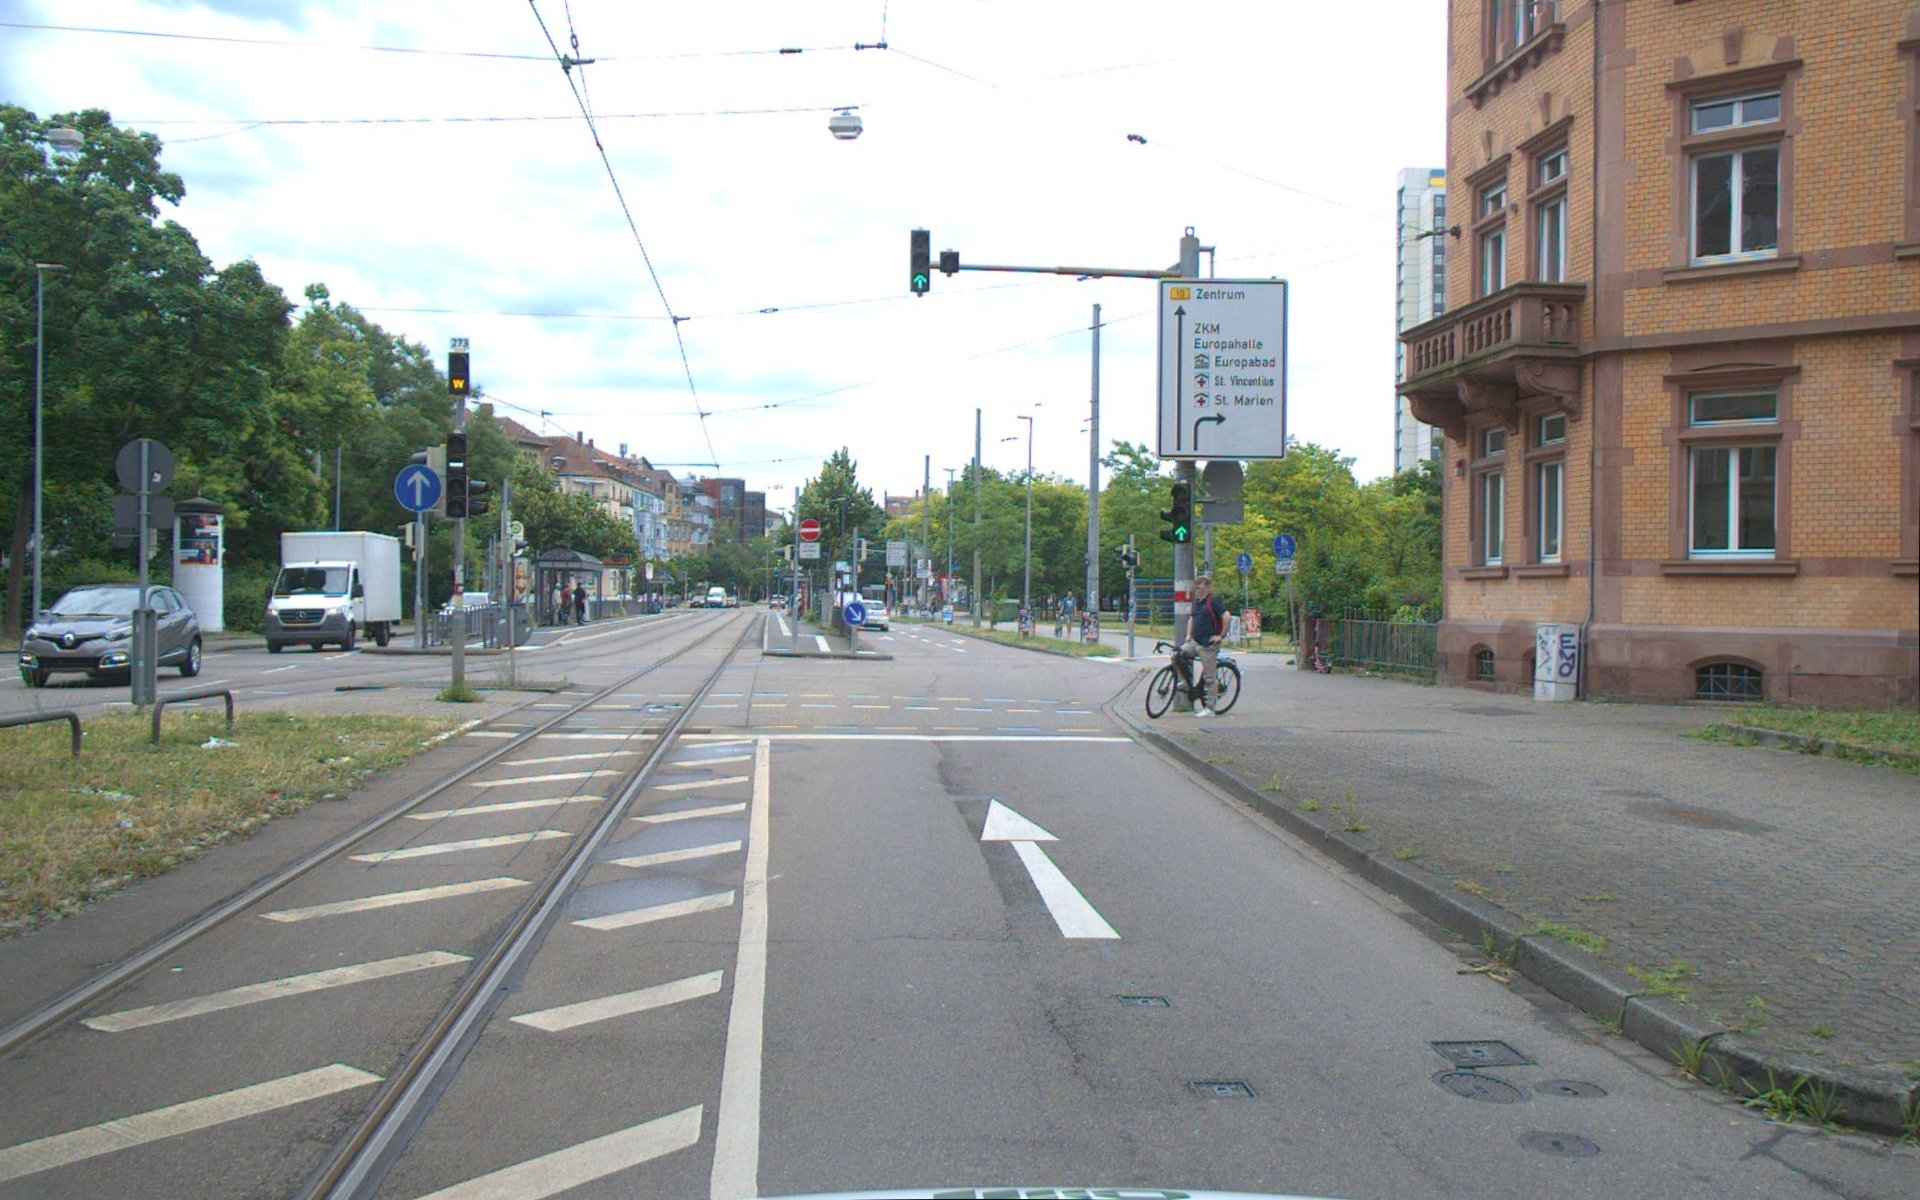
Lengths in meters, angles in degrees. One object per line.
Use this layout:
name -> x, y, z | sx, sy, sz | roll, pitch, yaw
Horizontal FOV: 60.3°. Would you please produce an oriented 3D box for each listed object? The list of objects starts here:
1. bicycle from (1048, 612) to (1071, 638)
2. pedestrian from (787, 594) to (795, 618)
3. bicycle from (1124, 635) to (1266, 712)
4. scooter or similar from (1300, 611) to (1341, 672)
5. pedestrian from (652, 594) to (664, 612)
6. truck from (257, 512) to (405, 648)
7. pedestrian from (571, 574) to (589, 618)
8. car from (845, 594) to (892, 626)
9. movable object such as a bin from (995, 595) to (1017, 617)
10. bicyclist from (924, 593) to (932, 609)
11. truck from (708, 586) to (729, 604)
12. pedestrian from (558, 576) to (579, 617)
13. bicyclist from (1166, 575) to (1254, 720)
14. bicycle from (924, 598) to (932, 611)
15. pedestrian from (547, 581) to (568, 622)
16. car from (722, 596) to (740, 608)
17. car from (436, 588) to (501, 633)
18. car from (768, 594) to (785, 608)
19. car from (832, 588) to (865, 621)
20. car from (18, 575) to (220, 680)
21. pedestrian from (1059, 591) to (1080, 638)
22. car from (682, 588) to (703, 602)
bicycle -> 4.055, 1.000, 67.555 | 0.642, 1.020, 1.777 | 1, 0, -6
pedestrian -> -10.989, 0.400, 107.508 | 0.521, 1.585, 0.570 | 0, 0, -3
bicycle -> 3.075, 0.932, 21.528 | 1.850, 0.940, 0.785 | 1, 0, -39
scooter or similar -> 7.044, 0.797, 32.320 | 0.369, 1.161, 1.197 | 0, 0, -9
pedestrian -> -22.361, 0.224, 122.437 | 0.849, 1.289, 0.692 | 0, 0, -9
truck -> -16.216, -0.455, 43.078 | 2.144, 3.212, 7.315 | 1, 0, -9
pedestrian -> -15.212, -0.148, 66.156 | 0.688, 1.745, 0.696 | 0, 0, -15
car -> -4.408, 0.463, 79.294 | 1.750, 1.498, 4.000 | 1, 0, -10
movable object such as a bin -> 3.003, 0.362, 107.410 | 1.257, 1.414, 1.157 | 1, 0, -6
bicyclist -> -2.800, 0.099, 144.593 | 0.665, 1.404, 0.728 | 0, 0, 2
truck -> -28.801, -0.549, 197.273 | 1.751, 2.068, 5.395 | 1, 0, 0
pedestrian -> -16.477, -0.143, 69.613 | 0.754, 1.689, 1.022 | 0, 0, -9
bicyclist -> 3.225, 0.597, 21.342 | 0.675, 1.826, 0.879 | 1, 0, -38
bicycle -> -2.787, 0.391, 144.586 | 0.665, 1.175, 1.898 | 0, 0, 2
pedestrian -> -16.208, 0.068, 66.575 | 0.625, 1.652, 0.673 | 0, 0, -31
car -> -29.368, 0.294, 211.965 | 1.734, 1.519, 3.886 | 1, 0, 0
car -> -19.071, 0.388, 64.314 | 1.737, 1.668, 4.528 | 1, 0, -8
car -> -21.149, 0.099, 190.561 | 1.735, 1.519, 3.884 | 1, 0, -4
car -> -6.909, 0.248, 102.192 | 1.748, 1.997, 4.375 | 1, 0, -7
car -> -13.472, 0.416, 26.754 | 1.613, 1.561, 4.124 | 1, 0, -8
pedestrian -> 4.485, 0.583, 67.555 | 0.725, 1.902, 0.681 | 0, 0, -8
car -> -30.078, -0.523, 186.260 | 1.734, 1.519, 3.886 | 1, 0, 0
